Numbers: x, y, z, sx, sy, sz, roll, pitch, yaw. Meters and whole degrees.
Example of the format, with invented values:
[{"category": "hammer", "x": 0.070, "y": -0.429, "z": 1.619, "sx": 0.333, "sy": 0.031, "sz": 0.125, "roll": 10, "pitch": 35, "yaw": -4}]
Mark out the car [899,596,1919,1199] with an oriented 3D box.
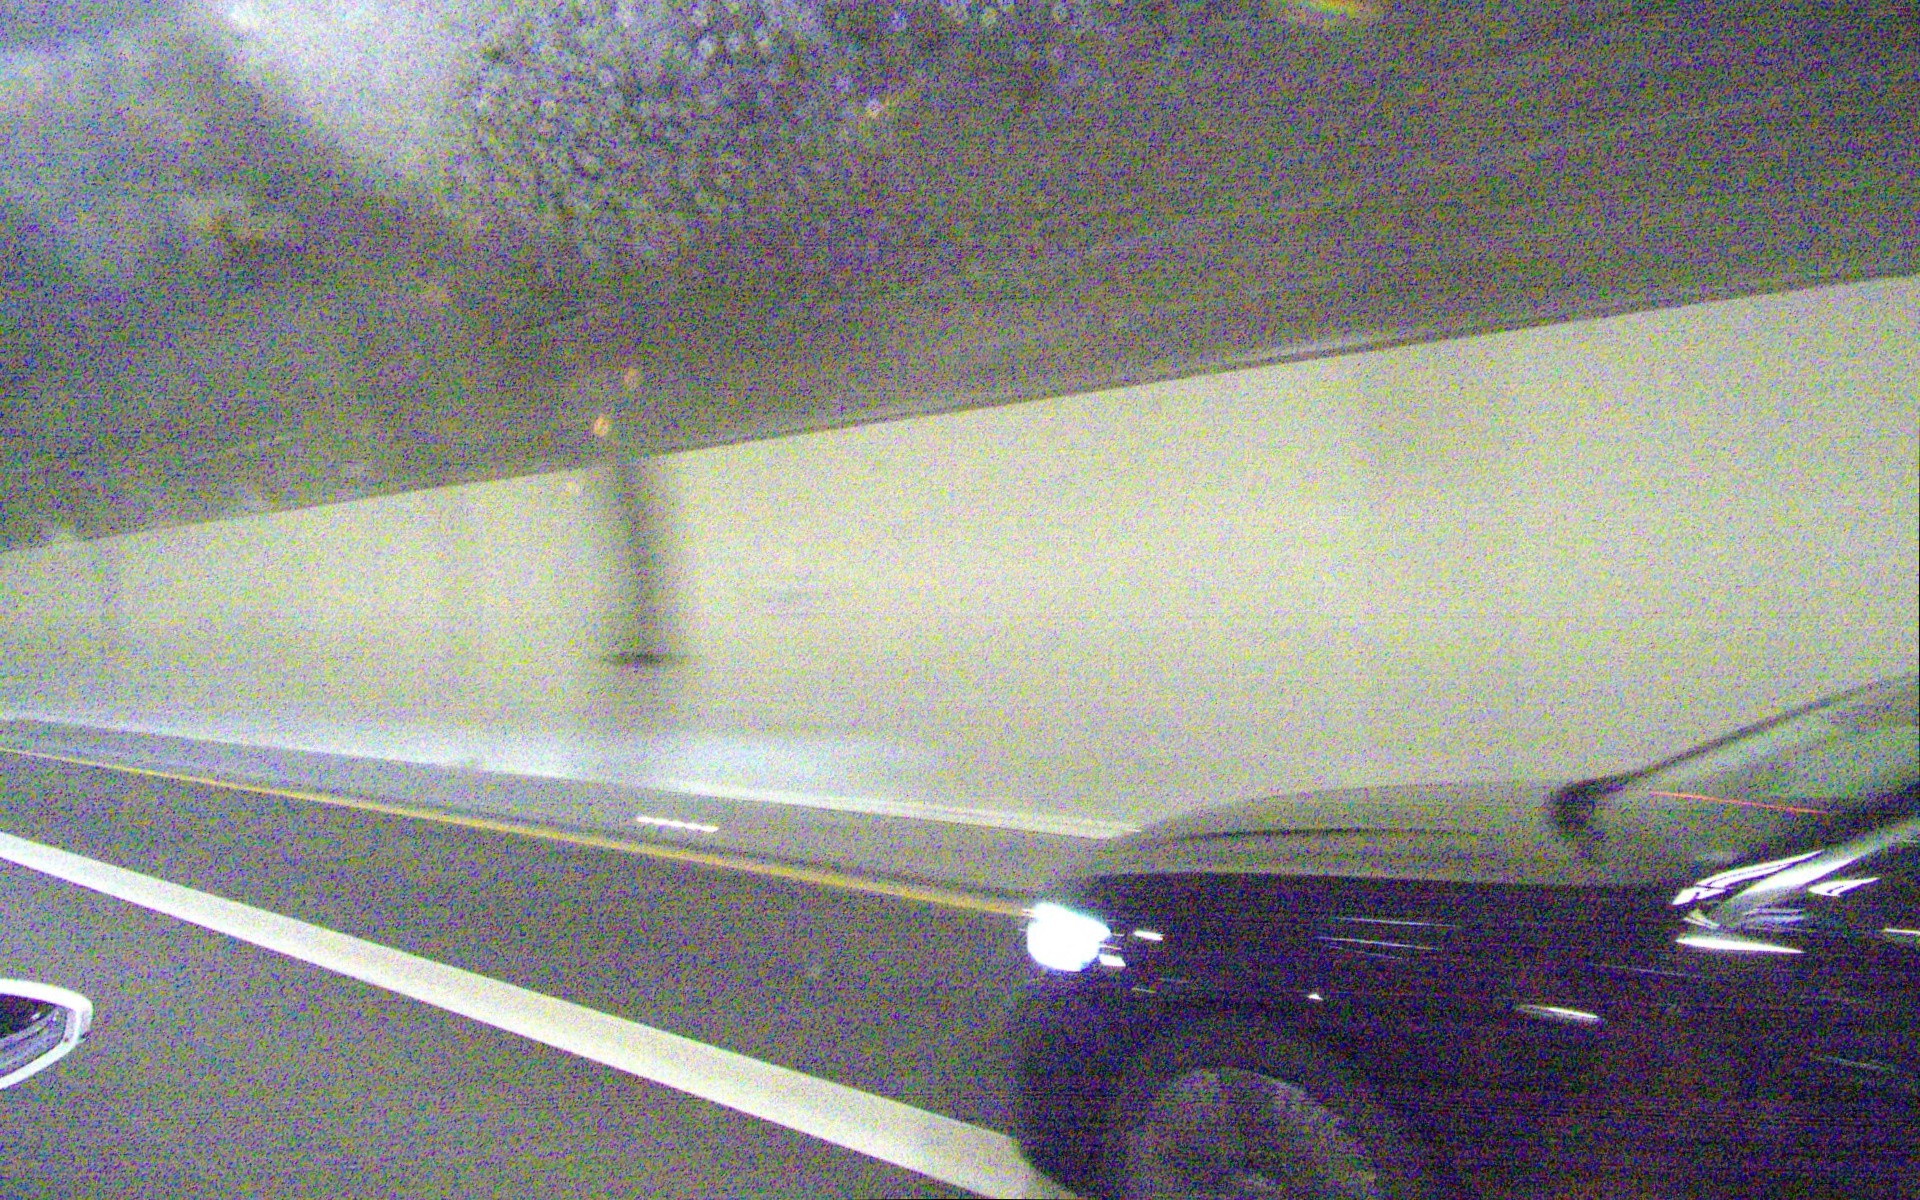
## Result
[{"category": "car", "x": 2.405, "y": 0.763, "z": 2.004, "sx": 4.885, "sy": 1.491, "sz": 1.922, "roll": -1, "pitch": -2, "yaw": 33}]
